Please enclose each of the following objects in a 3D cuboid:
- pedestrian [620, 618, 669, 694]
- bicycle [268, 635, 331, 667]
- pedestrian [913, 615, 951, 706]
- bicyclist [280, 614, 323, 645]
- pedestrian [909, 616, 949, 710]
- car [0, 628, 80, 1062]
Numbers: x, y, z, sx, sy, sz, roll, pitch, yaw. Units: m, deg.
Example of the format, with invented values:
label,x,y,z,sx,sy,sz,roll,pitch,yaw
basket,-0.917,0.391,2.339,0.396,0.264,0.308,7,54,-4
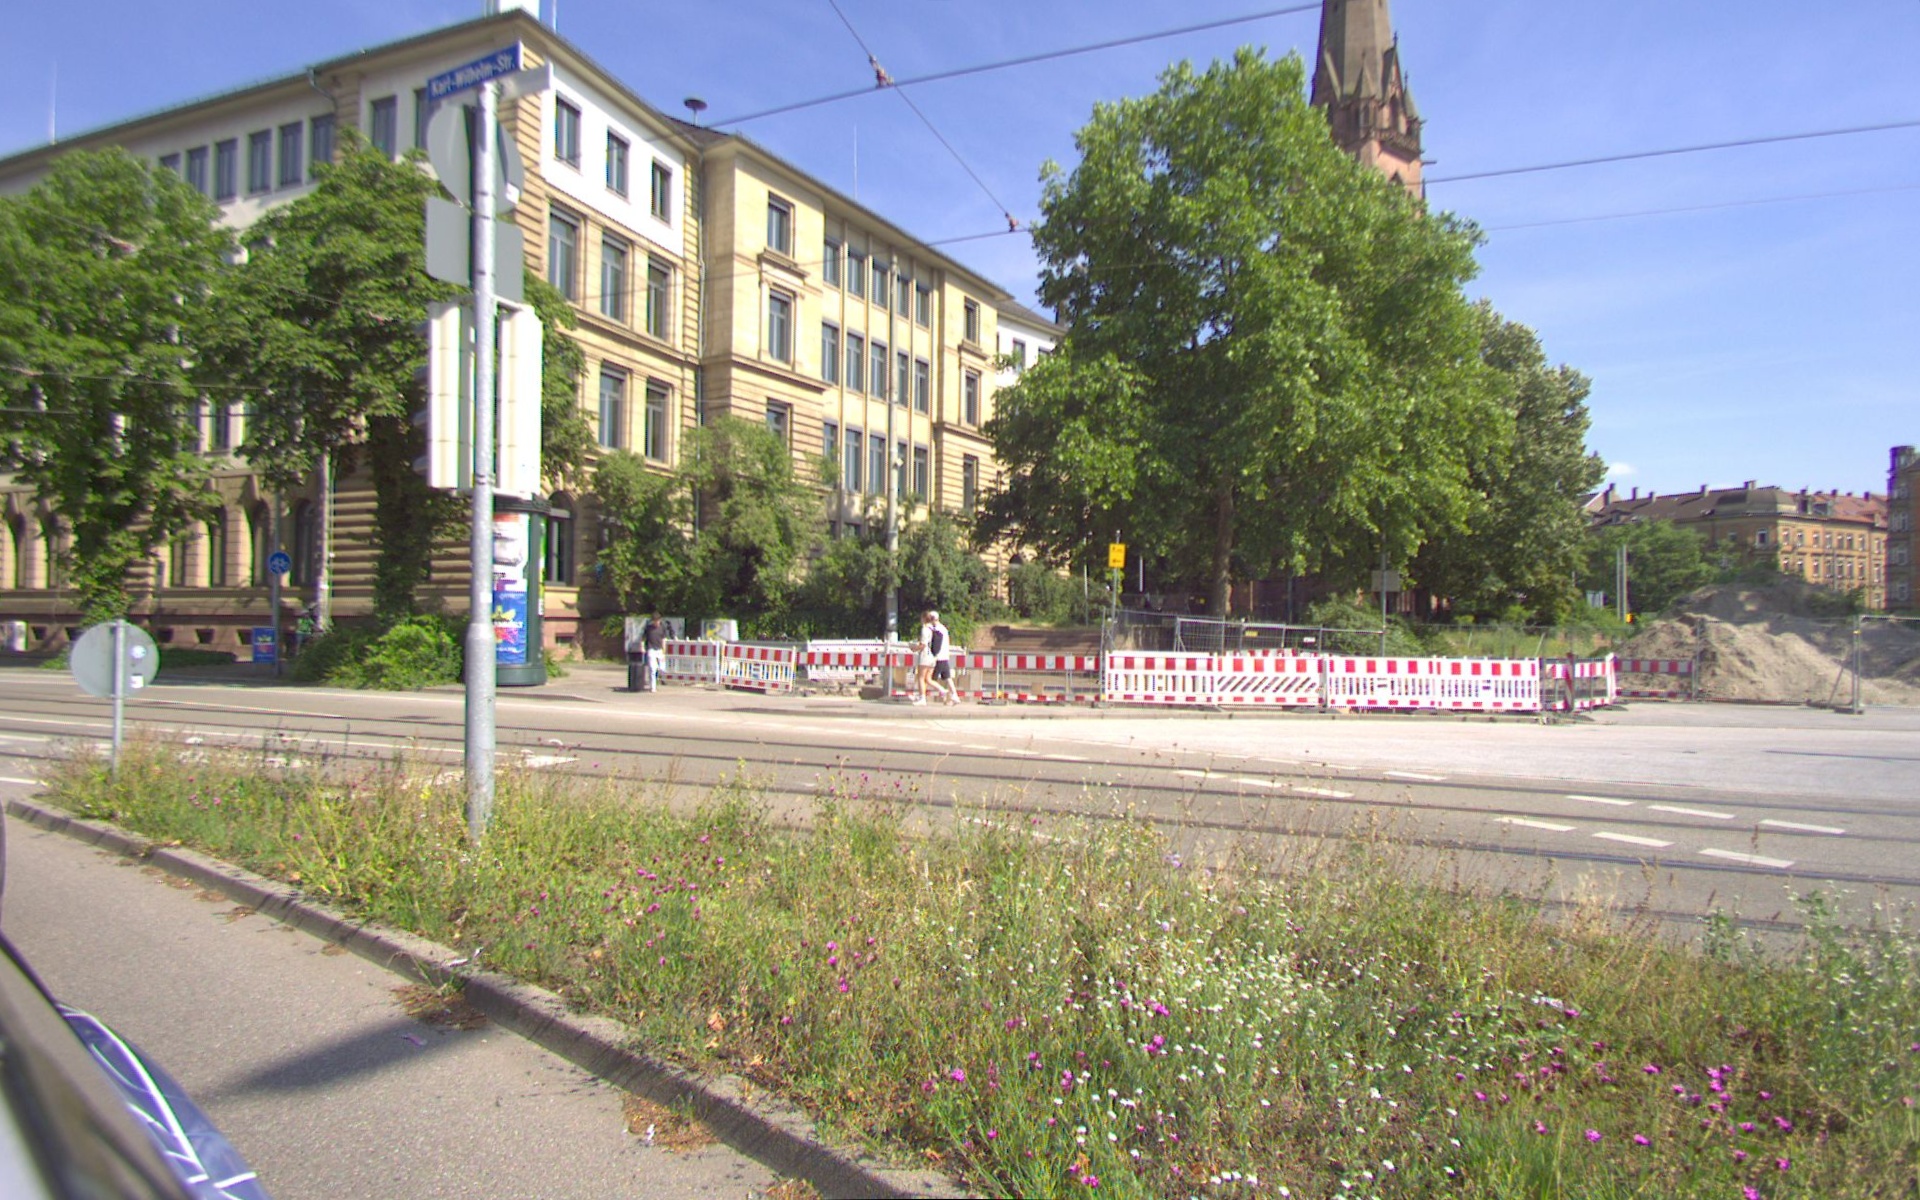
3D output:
label,x,y,z,sx,sy,sz,roll,pitch,yaw
pedestrian,-7.087,1.245,22.734,0.924,1.668,0.847,1,-2,-25
bicycle,-20.143,1.553,30.876,1.651,0.954,0.697,0,-2,17
pedestrian,-0.547,1.178,19.976,0.734,1.763,0.585,0,-2,-1
bicyclist,-20.094,0.900,30.889,0.862,0.934,0.679,0,-2,18
pedestrian,-0.595,1.194,19.343,0.734,1.763,0.585,0,-2,-1
car,-5.786,0.864,4.356,4.815,1.530,1.843,0,-2,35
